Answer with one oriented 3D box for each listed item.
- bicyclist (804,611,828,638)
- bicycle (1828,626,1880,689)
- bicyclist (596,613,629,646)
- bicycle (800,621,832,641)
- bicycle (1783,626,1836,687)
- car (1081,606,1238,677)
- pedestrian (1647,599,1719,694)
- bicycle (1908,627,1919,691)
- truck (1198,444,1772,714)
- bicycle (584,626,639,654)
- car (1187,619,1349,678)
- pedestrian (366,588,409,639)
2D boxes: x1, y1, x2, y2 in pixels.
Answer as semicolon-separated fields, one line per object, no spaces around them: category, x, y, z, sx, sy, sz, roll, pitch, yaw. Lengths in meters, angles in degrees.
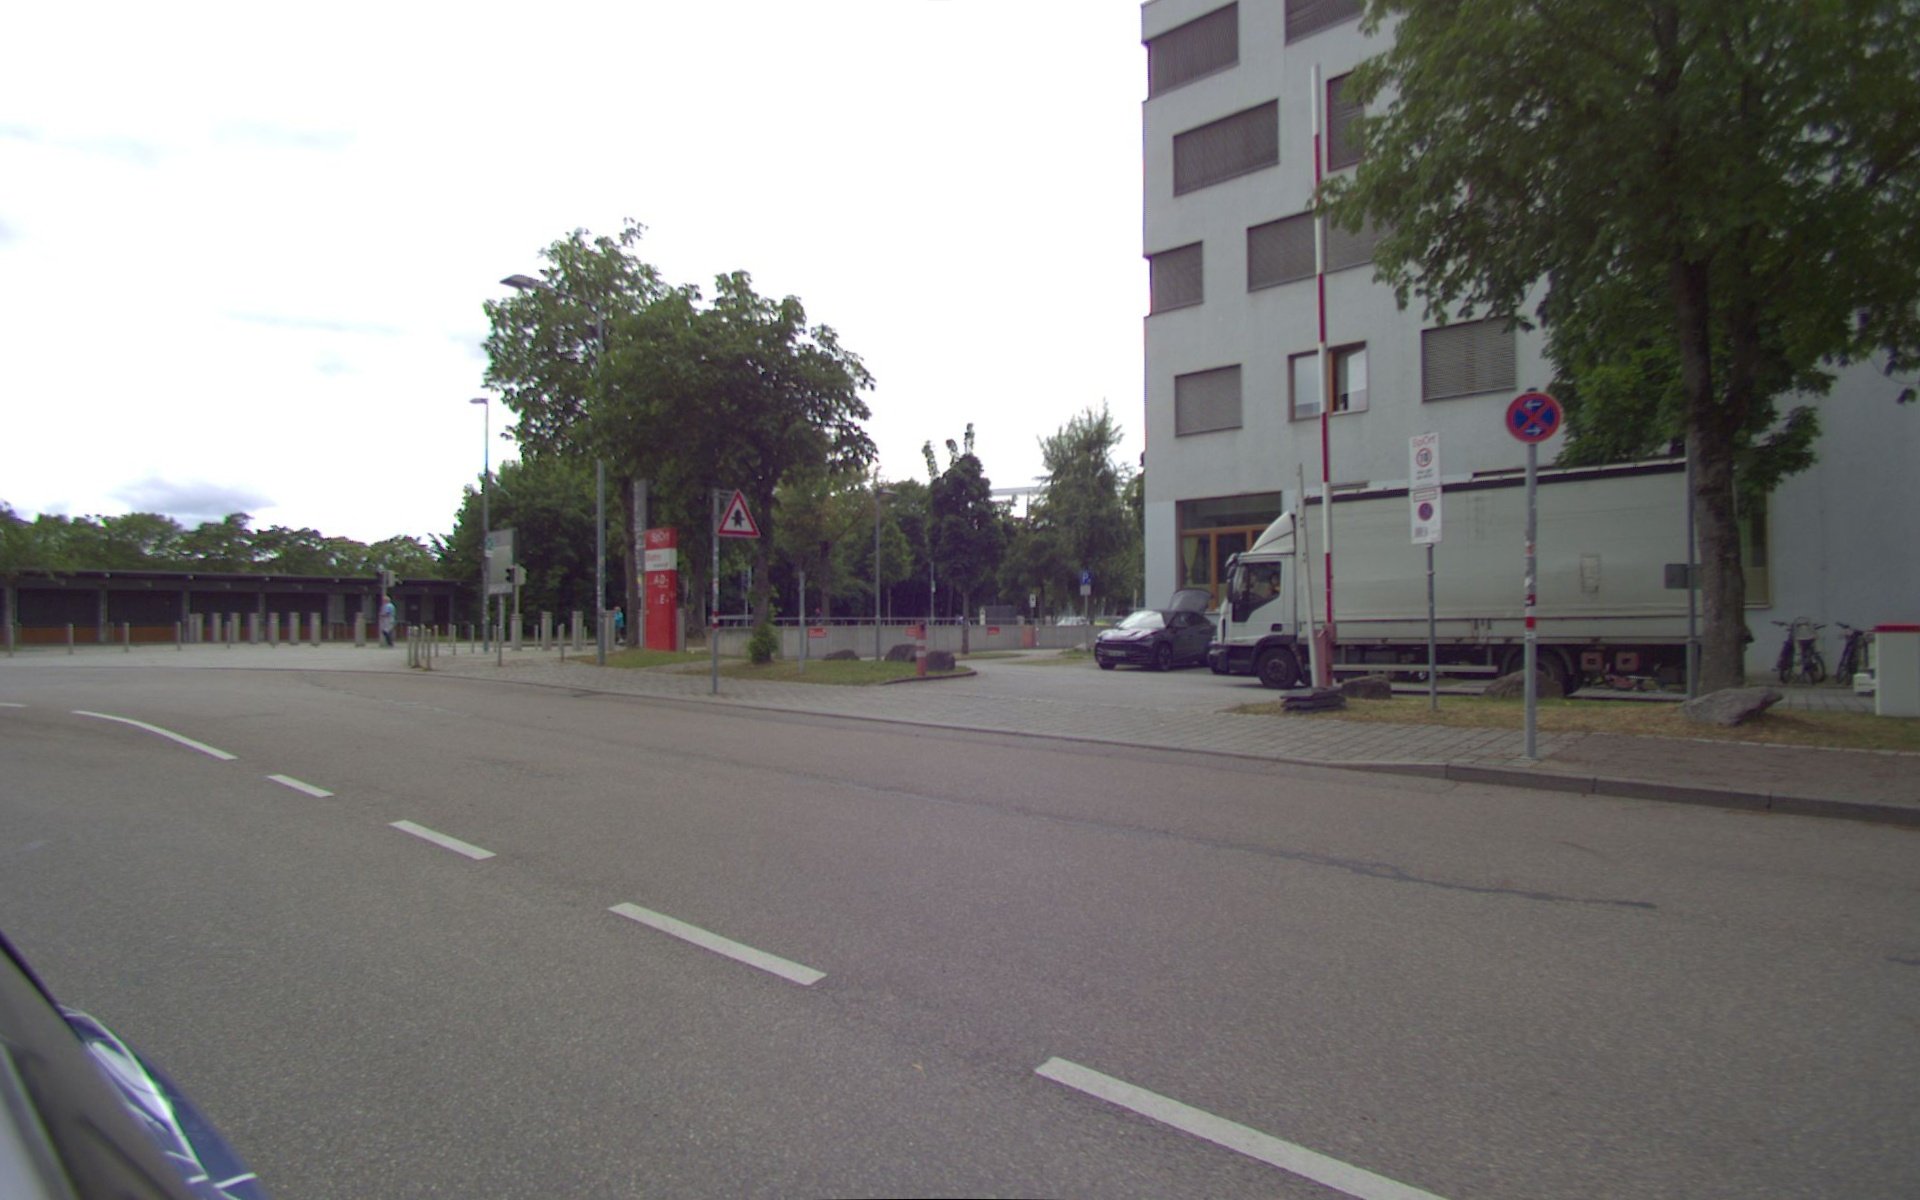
bicyclist;-8.465;1.418;59.462;0.925;1.507;1.089;0;0;32
bicycle;16.874;1.061;19.087;0.614;1.078;2.002;-1;0;45
bicyclist;-15.214;1.283;44.294;0.742;1.441;1.144;0;0;39
bicycle;-8.462;1.809;59.464;0.775;1.152;2.029;0;0;32
bicycle;16.511;1.064;19.654;0.614;1.078;2.002;-1;0;45
car;5.516;1.032;27.348;2.095;1.705;5.269;0;0;37
pedestrian;12.612;0.791;17.671;0.882;1.618;0.674;0;0;23
bicycle;17.581;1.056;18.269;0.614;1.078;2.002;-1;0;45
truck;8.502;-0.264;17.296;8.358;3.628;2.650;0;0;40
bicycle;-15.238;1.737;44.260;0.747;1.132;2.229;0;0;38
car;7.887;1.146;25.568;2.181;1.254;5.086;0;0;39
pedestrian;-21.021;0.476;37.176;1.184;1.847;0.928;0;0;-44
